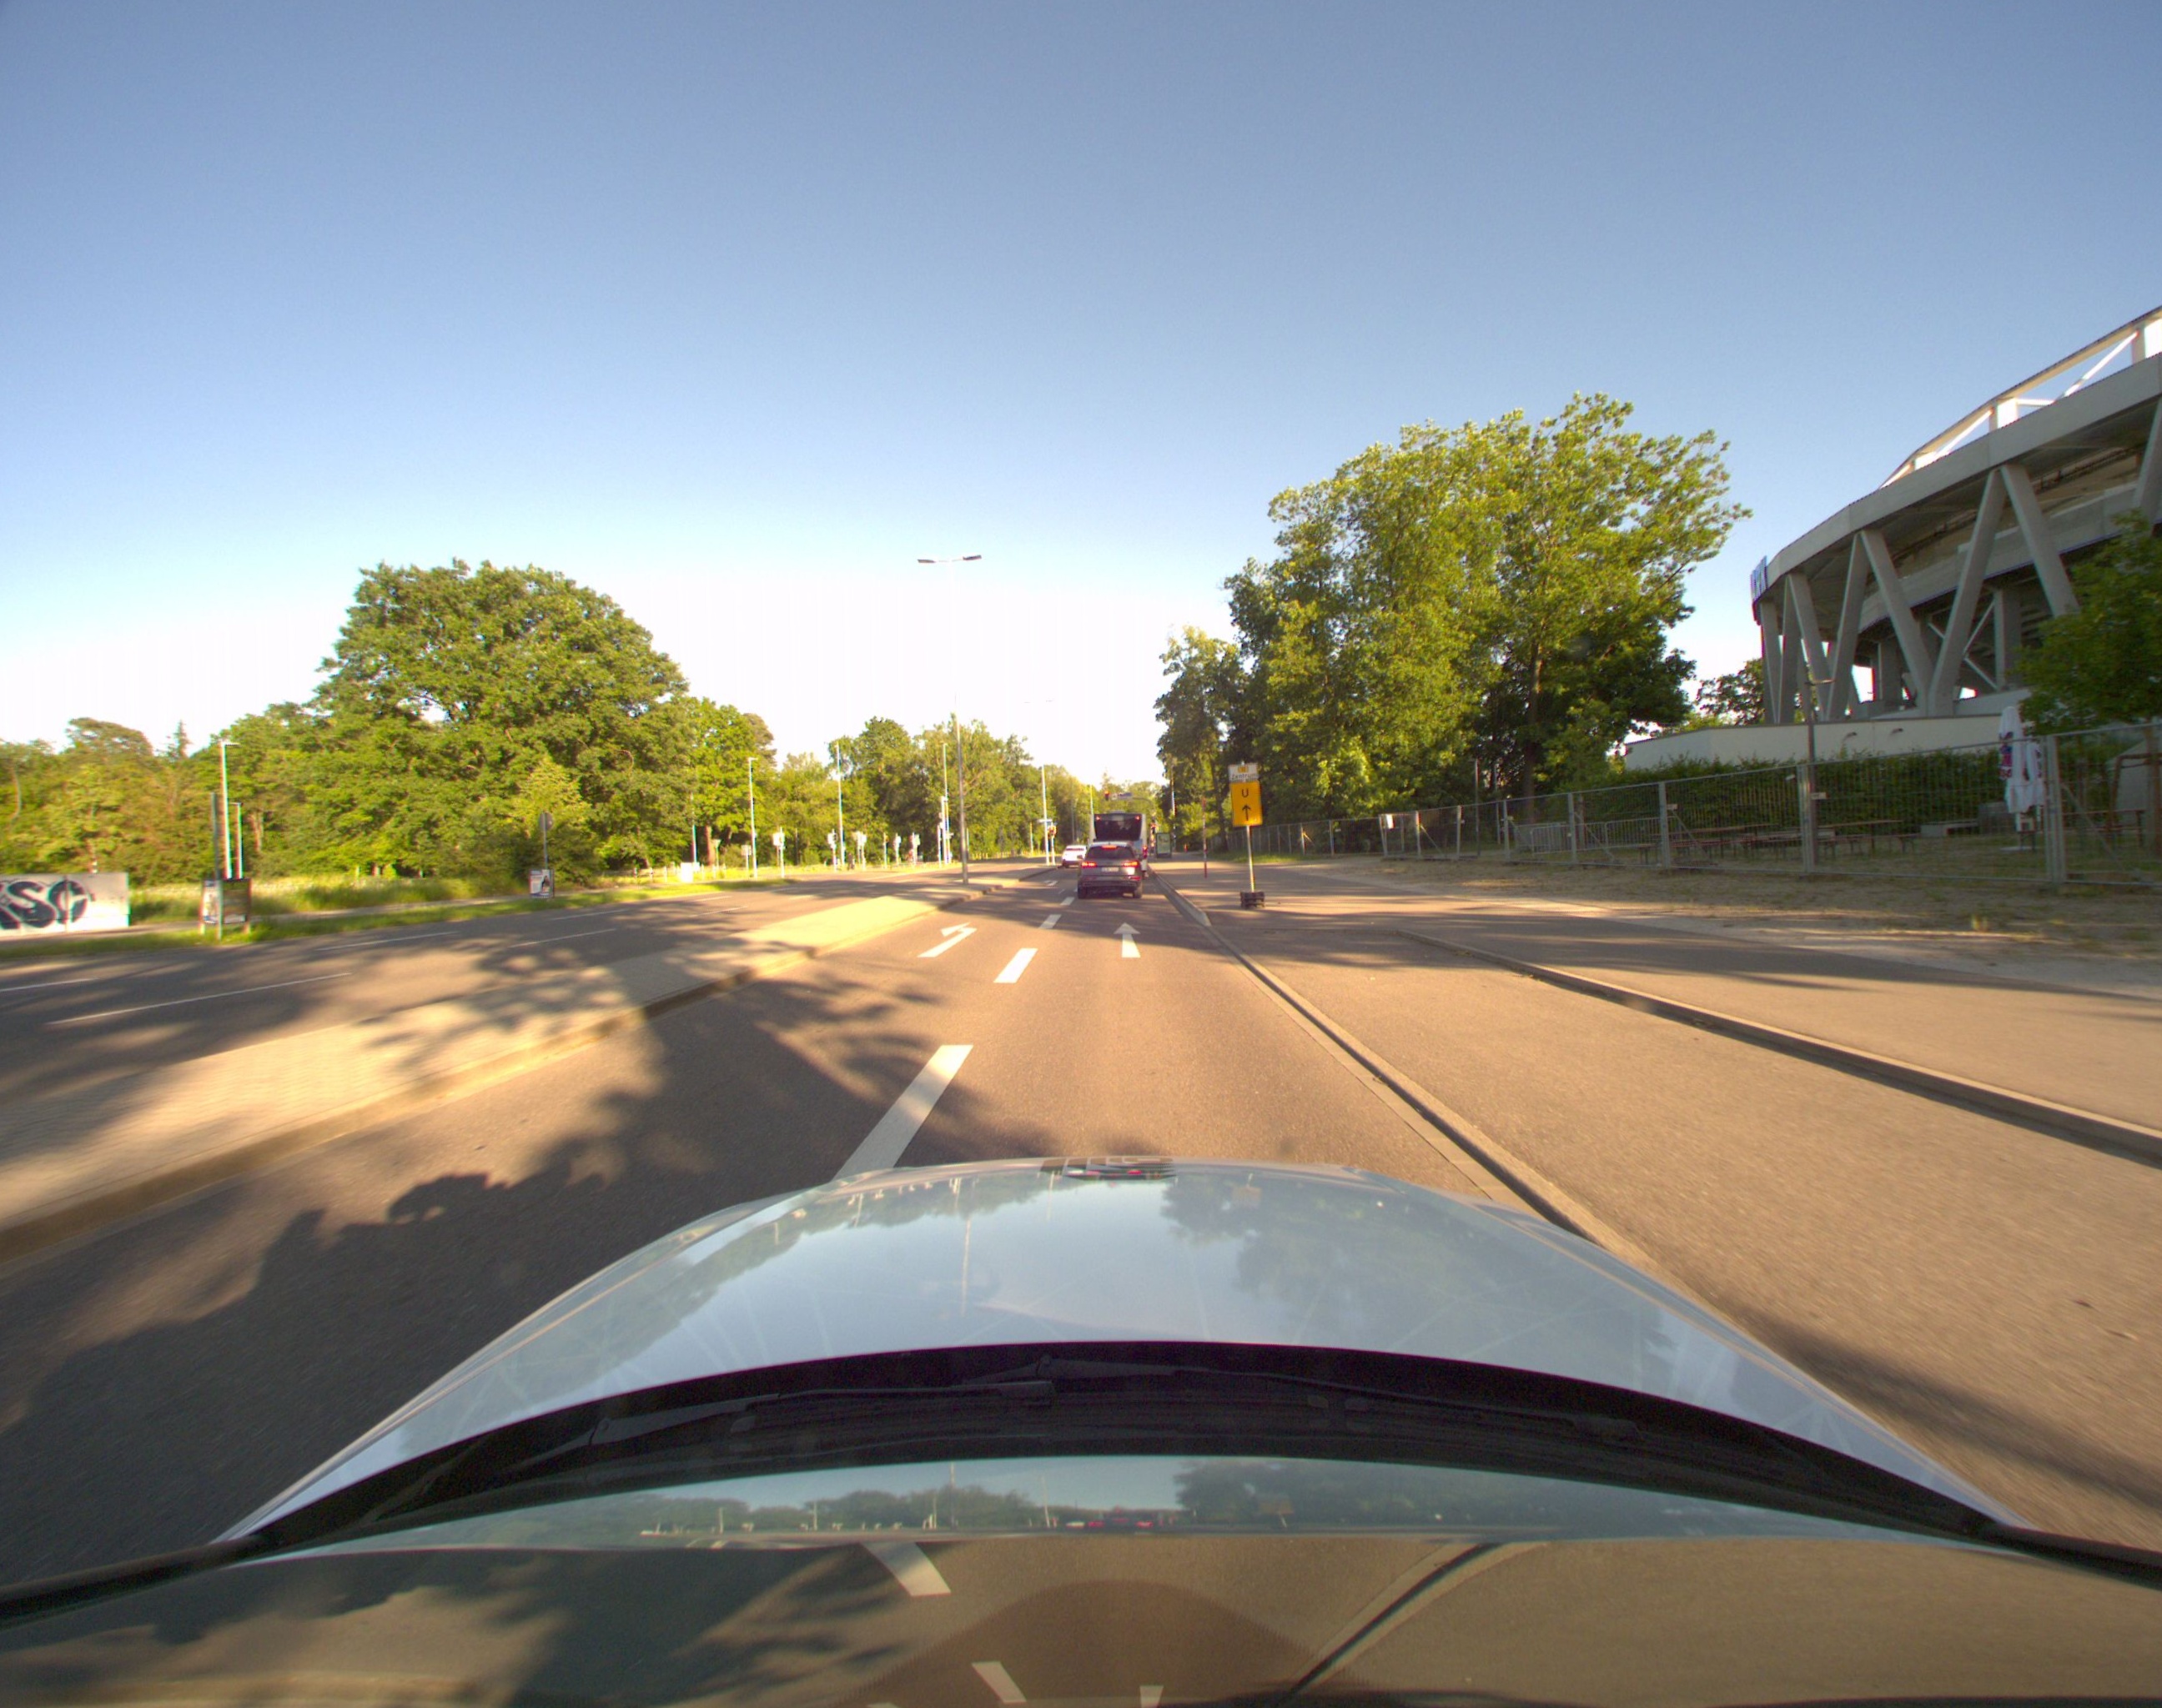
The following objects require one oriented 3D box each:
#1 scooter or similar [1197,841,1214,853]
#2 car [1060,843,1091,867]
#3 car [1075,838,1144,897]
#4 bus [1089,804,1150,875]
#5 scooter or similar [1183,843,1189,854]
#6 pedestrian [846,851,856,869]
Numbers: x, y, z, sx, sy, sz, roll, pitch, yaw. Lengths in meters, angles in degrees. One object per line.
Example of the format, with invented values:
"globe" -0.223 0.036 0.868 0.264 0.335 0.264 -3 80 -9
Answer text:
"scooter or similar" 16.313 -0.946 106.718 2.024 1.444 0.601 -3 0 -22
"car" -0.336 0.030 55.294 1.829 1.518 4.004 -2 1 3
"car" 0.911 0.360 24.712 1.891 1.632 4.004 -1 1 3
"bus" 1.898 -0.632 39.670 2.584 2.989 9.334 -1 0 3
"scooter or similar" 14.067 -0.737 109.265 0.506 1.444 2.021 -3 1 -2
"pedestrian" -20.433 0.537 72.273 0.652 1.560 0.533 -3 0 -39
